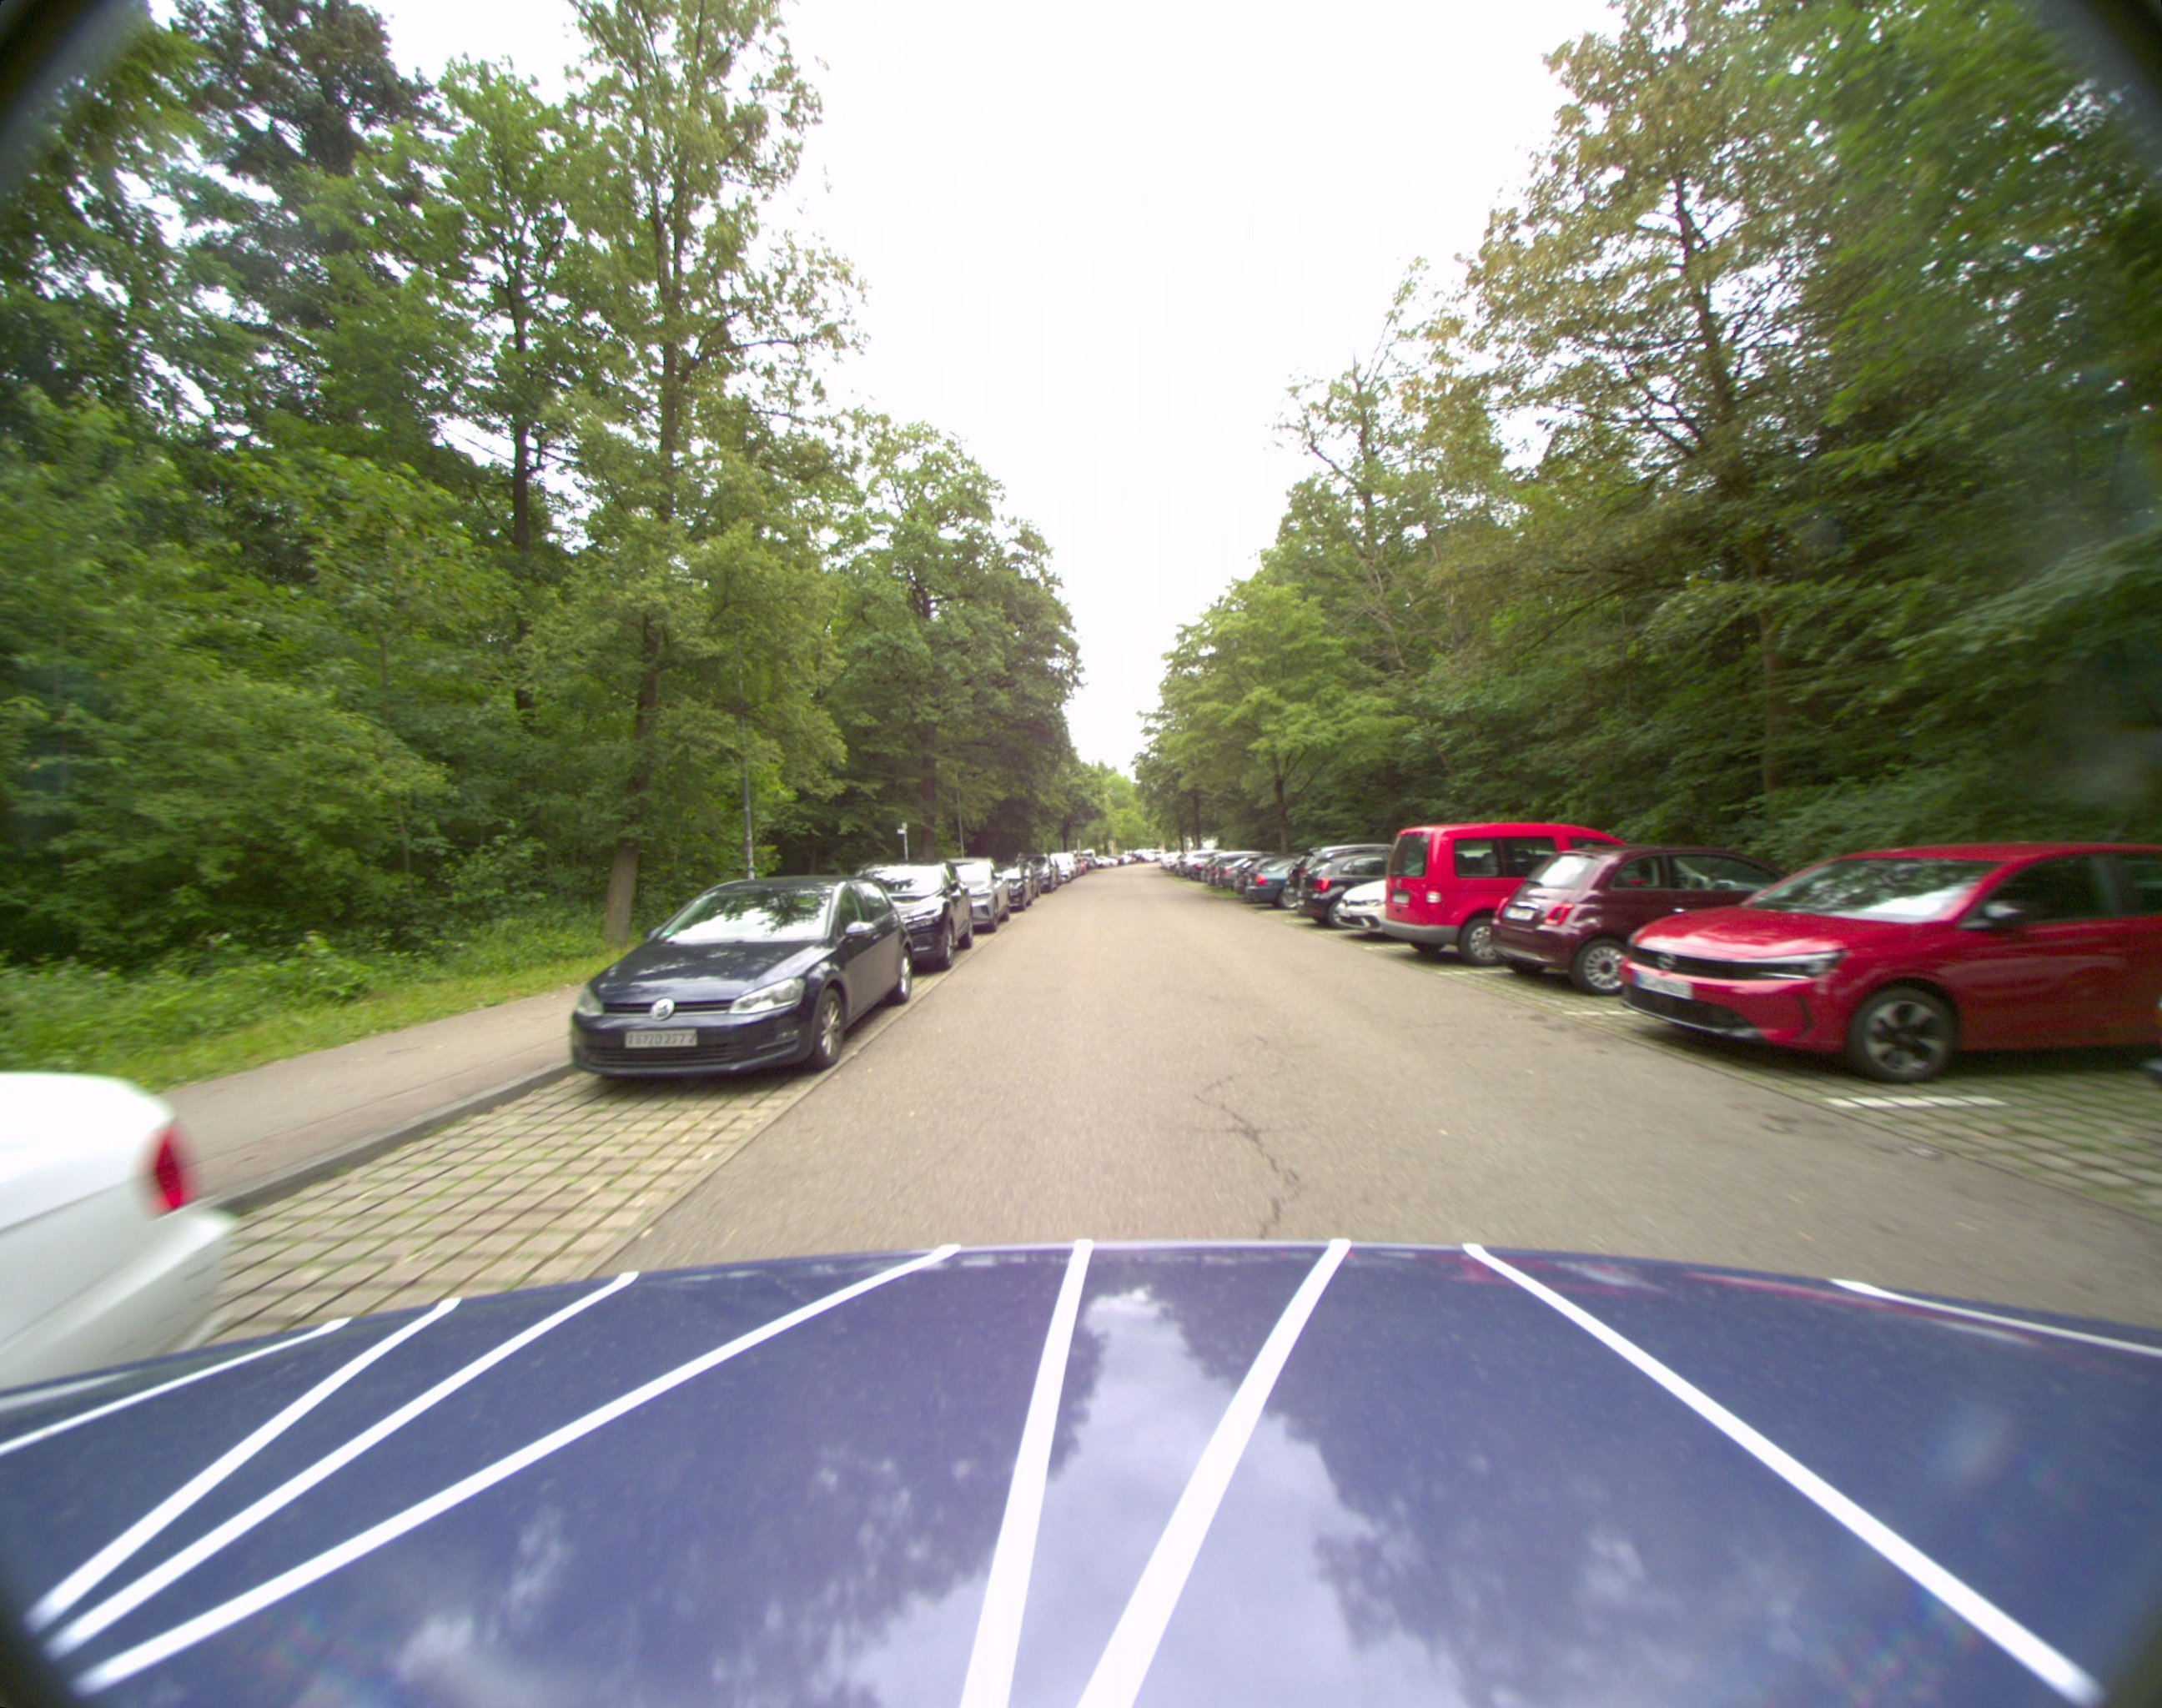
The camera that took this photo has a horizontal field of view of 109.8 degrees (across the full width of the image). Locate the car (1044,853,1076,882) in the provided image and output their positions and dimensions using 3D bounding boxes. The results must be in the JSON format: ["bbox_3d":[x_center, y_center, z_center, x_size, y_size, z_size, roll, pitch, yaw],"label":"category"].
[{"bbox_3d":[-1.219,0.777,45.714,1.580,1.610,3.962,-2,0,2],"label":"car"}]

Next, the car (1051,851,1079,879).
[{"bbox_3d":[-1.045,0.723,51.236,1.642,1.742,4.054,-2,0,2],"label":"car"}]

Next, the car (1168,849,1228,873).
[{"bbox_3d":[8.494,0.525,55.333,3.998,1.661,1.713,-1,0,-2],"label":"car"}]

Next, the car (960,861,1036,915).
[{"bbox_3d":[-2.468,0.994,23.576,1.824,1.433,4.000,-2,0,1],"label":"car"}]

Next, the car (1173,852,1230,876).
[{"bbox_3d":[9.105,0.741,57.607,3.998,1.661,1.713,-1,0,-2],"label":"car"}]

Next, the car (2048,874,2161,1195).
[{"bbox_3d":[6.894,0.782,2.934,3.997,1.440,1.771,-2,0,1],"label":"car"}]

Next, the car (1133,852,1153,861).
[{"bbox_3d":[9.708,0.330,118.672,1.769,1.308,3.896,-2,0,24],"label":"car"}]

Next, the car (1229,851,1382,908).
[{"bbox_3d":[6.632,0.730,22.729,3.997,1.433,1.741,-3,1,-1],"label":"car"}]

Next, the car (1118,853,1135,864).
[{"bbox_3d":[6.477,0.608,107.785,1.771,1.308,3.893,-2,1,13],"label":"car"}]

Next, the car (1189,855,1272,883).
[{"bbox_3d":[7.854,0.757,40.197,3.998,1.363,1.713,-1,0,-4],"label":"car"}]

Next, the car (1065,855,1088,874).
[{"bbox_3d":[-0.320,0.816,60.739,1.502,1.470,3.666,-2,0,3],"label":"car"}]

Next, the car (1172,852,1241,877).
[{"bbox_3d":[7.831,0.662,47.753,3.998,1.480,1.713,-1,0,-2],"label":"car"}]

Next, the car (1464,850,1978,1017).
[{"bbox_3d":[6.616,0.770,8.232,3.997,1.507,1.818,-2,0,1],"label":"car"}]

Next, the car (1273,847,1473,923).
[{"bbox_3d":[6.741,0.687,17.814,3.997,1.588,1.741,-2,0,1],"label":"car"}]

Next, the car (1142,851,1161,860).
[{"bbox_3d":[11.516,0.195,123.528,1.769,1.308,3.896,-2,0,24],"label":"car"}]

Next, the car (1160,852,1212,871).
[{"bbox_3d":[8.664,0.624,62.748,3.998,1.469,1.713,-1,0,-2],"label":"car"}]

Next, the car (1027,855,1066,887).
[{"bbox_3d":[-1.782,0.867,40.445,1.705,1.529,3.962,-2,0,2],"label":"car"}]

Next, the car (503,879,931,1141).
[{"bbox_3d":[-2.759,1.059,7.171,1.741,1.426,4.745,-2,0,-1],"label":"car"}]

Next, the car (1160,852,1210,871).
[{"bbox_3d":[8.850,0.620,64.666,3.998,1.469,1.713,-1,0,-2],"label":"car"}]

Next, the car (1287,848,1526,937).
[{"bbox_3d":[6.336,0.731,15.155,3.996,1.588,1.742,-2,0,3],"label":"car"}]

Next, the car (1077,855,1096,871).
[{"bbox_3d":[0.573,0.834,72.296,1.502,1.470,3.667,-2,0,4],"label":"car"}]

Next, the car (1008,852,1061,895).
[{"bbox_3d":[-2.004,0.818,34.304,1.909,1.713,4.486,-2,0,2],"label":"car"}]

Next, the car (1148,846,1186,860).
[{"bbox_3d":[10.056,-0.105,88.799,3.992,1.412,1.784,-2,1,17],"label":"car"}]

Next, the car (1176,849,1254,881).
[{"bbox_3d":[7.506,0.593,42.788,3.998,1.717,1.713,-1,0,-2],"label":"car"}]

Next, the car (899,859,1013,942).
[{"bbox_3d":[-2.755,0.963,17.758,1.907,1.577,4.481,-2,0,-1],"label":"car"}]

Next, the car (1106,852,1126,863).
[{"bbox_3d":[4.598,0.430,99.299,1.771,1.308,3.893,-2,1,13],"label":"car"}]

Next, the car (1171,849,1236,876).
[{"bbox_3d":[8.119,0.571,50.416,3.998,1.699,1.713,-1,0,-2],"label":"car"}]

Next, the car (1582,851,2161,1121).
[{"bbox_3d":[6.134,0.783,5.363,3.997,1.507,1.771,-2,0,1],"label":"car"}]

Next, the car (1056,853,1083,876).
[{"bbox_3d":[-0.810,0.775,56.547,1.642,1.561,3.666,-2,0,3],"label":"car"}]

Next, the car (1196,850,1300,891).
[{"bbox_3d":[7.160,0.687,32.724,3.998,1.508,1.713,-3,1,-4],"label":"car"}]

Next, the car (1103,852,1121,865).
[{"bbox_3d":[3.803,0.530,94.074,1.501,1.470,3.668,-2,1,13],"label":"car"}]

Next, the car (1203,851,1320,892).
[{"bbox_3d":[7.127,0.671,30.289,4.221,1.528,1.818,-1,0,1],"label":"car"}]

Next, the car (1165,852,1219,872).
[{"bbox_3d":[8.837,0.644,60.468,3.998,1.469,1.713,-1,0,-2],"label":"car"}]

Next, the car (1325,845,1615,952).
[{"bbox_3d":[6.407,0.708,12.888,3.996,1.588,1.742,-2,0,3],"label":"car"}]

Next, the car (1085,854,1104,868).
[{"bbox_3d":[1.573,0.784,85.551,1.501,1.470,3.668,-2,0,11],"label":"car"}]

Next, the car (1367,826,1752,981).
[{"bbox_3d":[6.205,0.608,10.220,3.997,1.804,1.818,-2,0,1],"label":"car"}]

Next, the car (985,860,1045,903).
[{"bbox_3d":[-2.459,0.999,29.216,1.750,1.418,4.189,-2,0,2],"label":"car"}]

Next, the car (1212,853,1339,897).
[{"bbox_3d":[7.007,0.738,27.738,4.220,1.447,1.818,-2,0,5],"label":"car"}]

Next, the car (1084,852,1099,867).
[{"bbox_3d":[1.121,0.563,79.813,1.502,1.470,3.666,-2,0,2],"label":"car"}]

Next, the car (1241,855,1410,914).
[{"bbox_3d":[6.458,0.786,20.400,3.996,1.413,1.742,-2,0,4],"label":"car"}]

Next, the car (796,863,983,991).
[{"bbox_3d":[-2.789,0.978,12.159,1.843,1.551,4.423,-2,0,-1],"label":"car"}]

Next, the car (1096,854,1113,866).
[{"bbox_3d":[2.824,0.699,89.827,1.501,1.331,3.435,-2,0,11],"label":"car"}]
